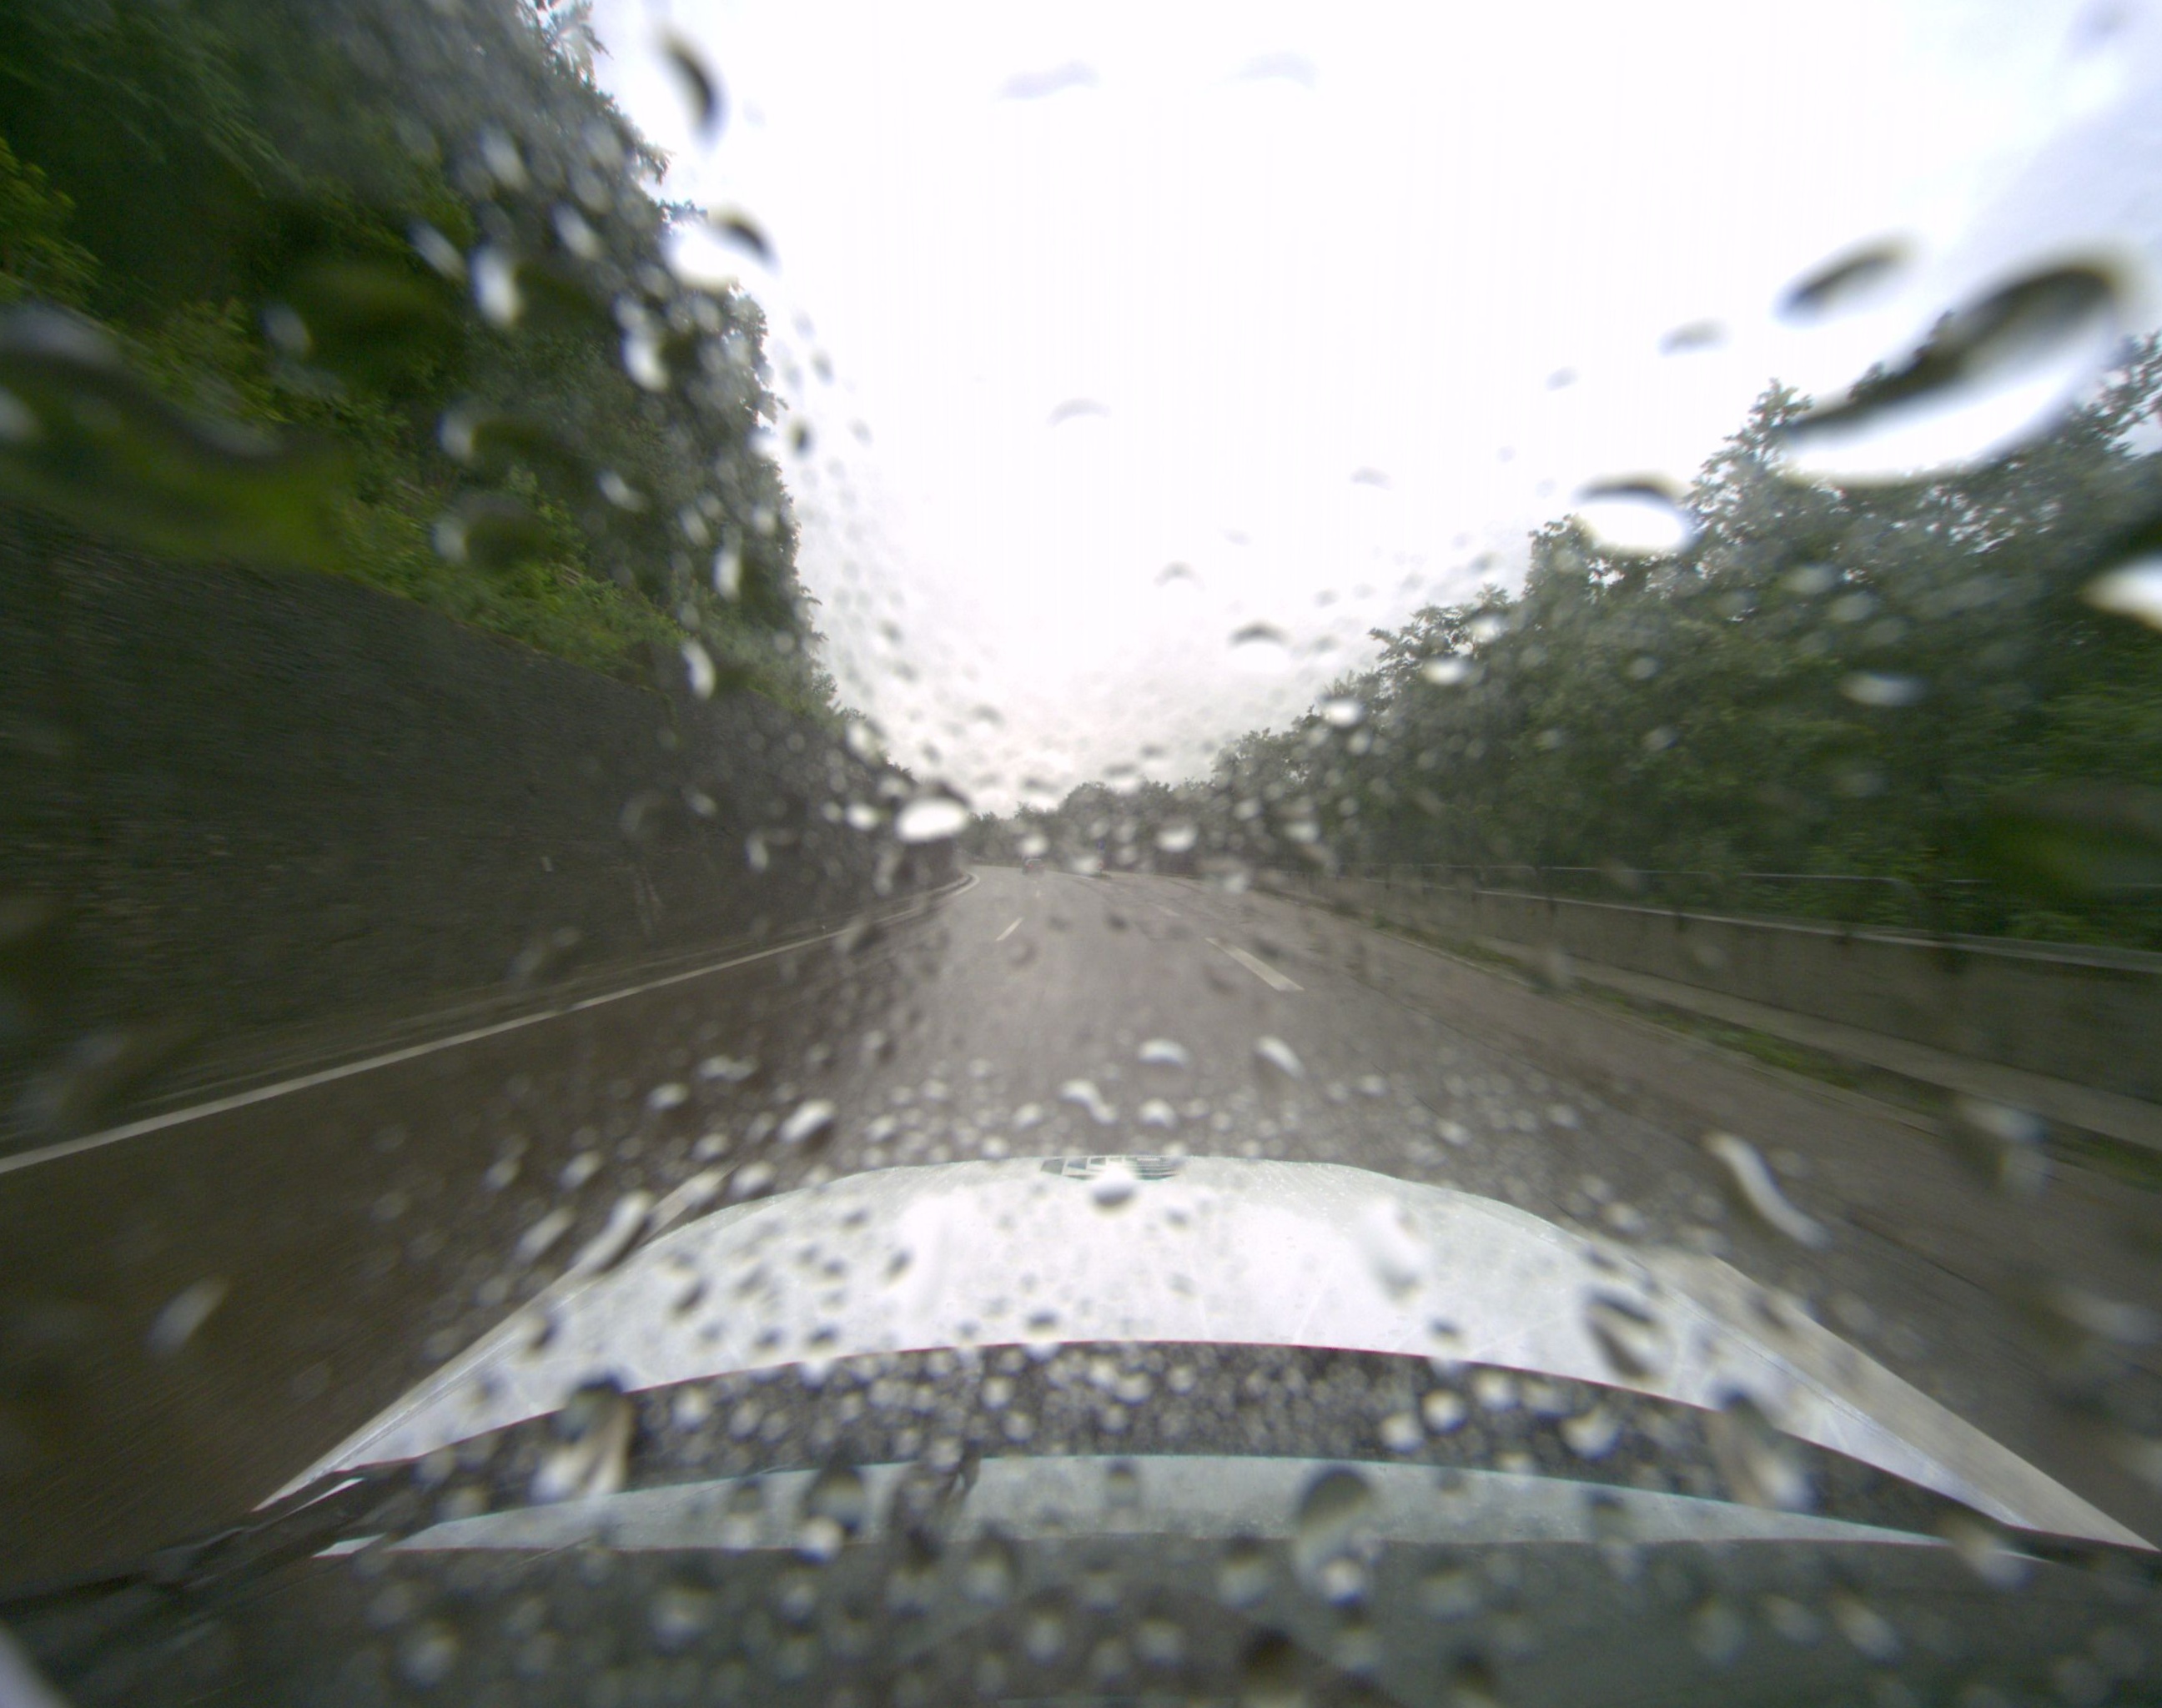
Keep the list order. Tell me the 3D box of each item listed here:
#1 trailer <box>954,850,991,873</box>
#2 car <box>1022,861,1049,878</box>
[{"bbox_3d":[-21.260,1.445,158.101,2.907,4.245,14.575,0,0,-25],"label":"trailer"},{"bbox_3d":[-4.270,1.455,76.115,1.905,1.499,3.983,2,-1,-12],"label":"car"}]
